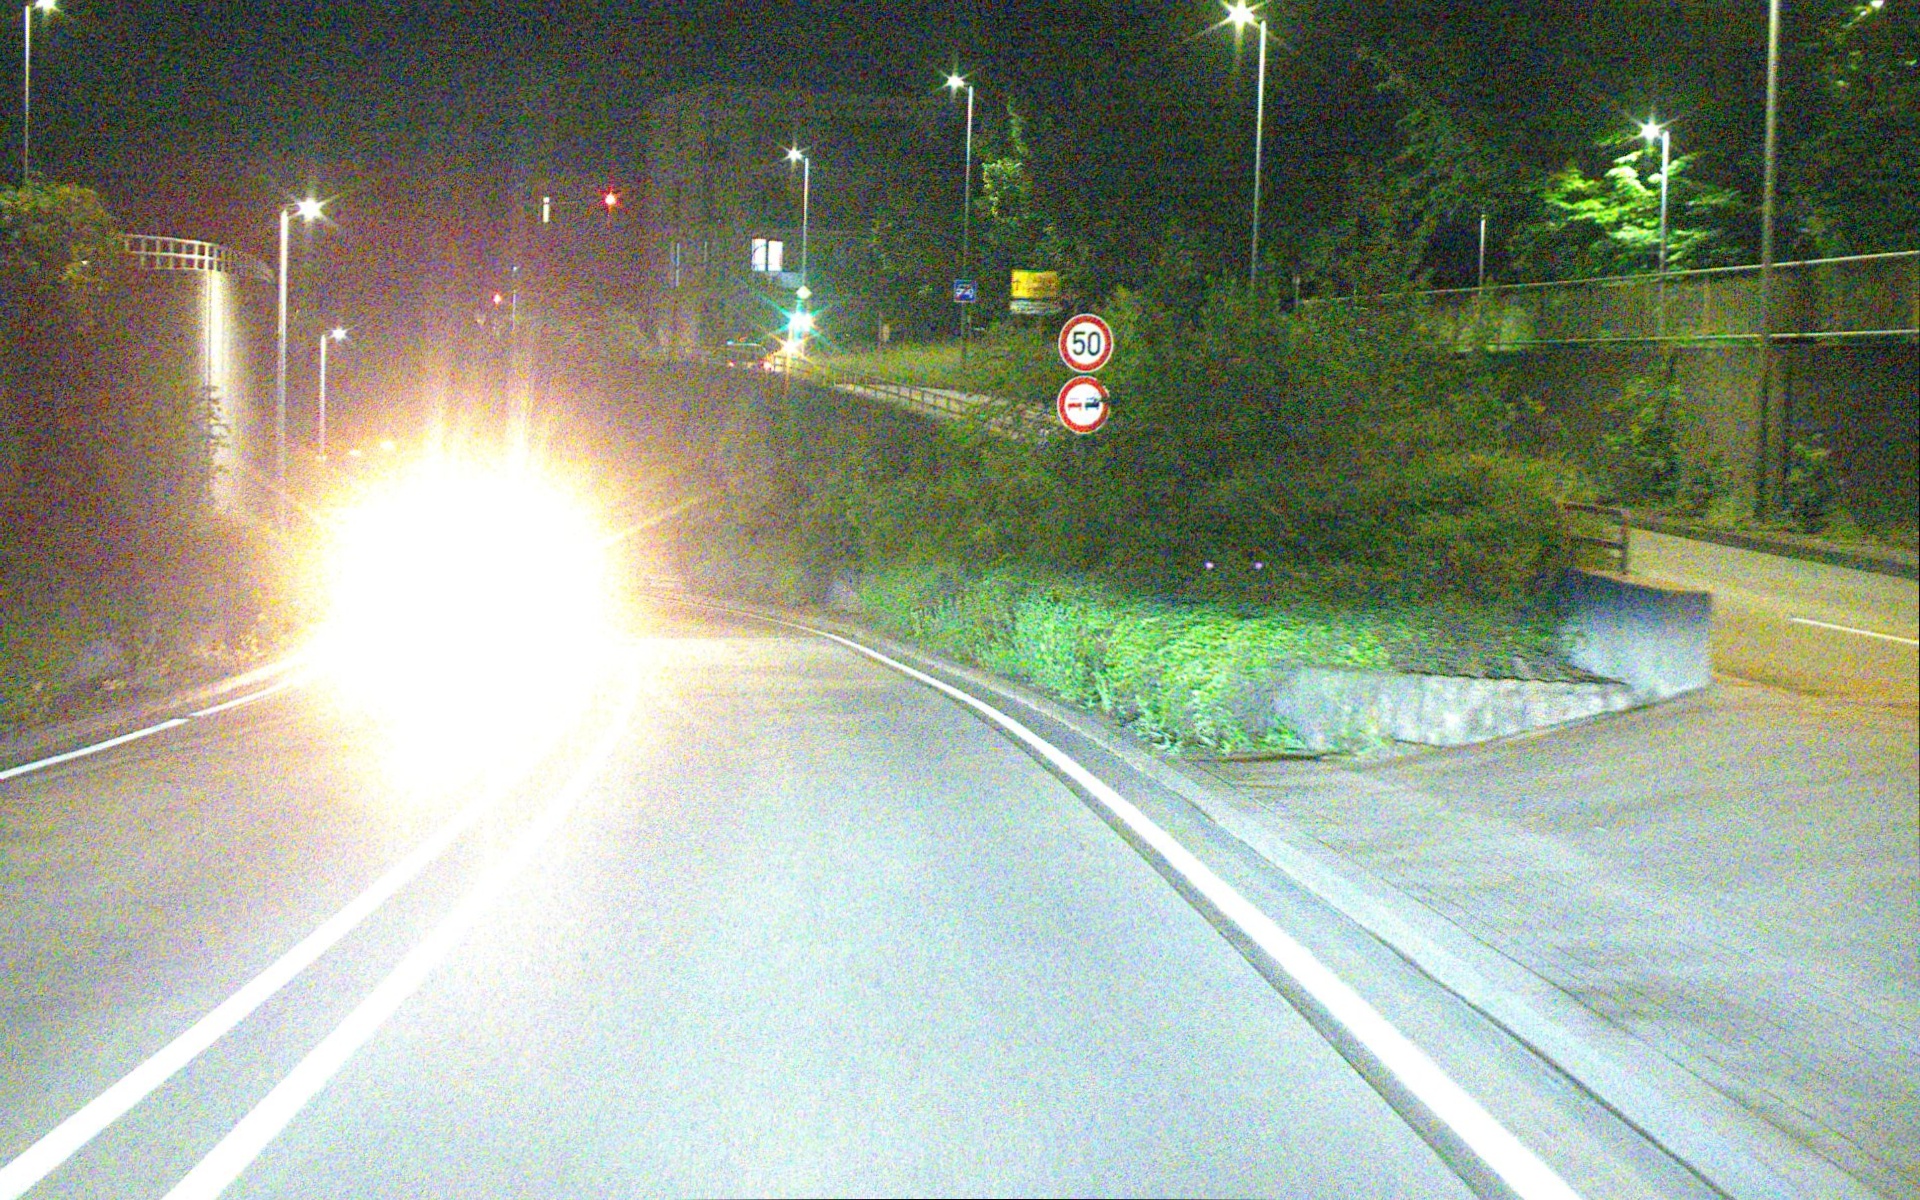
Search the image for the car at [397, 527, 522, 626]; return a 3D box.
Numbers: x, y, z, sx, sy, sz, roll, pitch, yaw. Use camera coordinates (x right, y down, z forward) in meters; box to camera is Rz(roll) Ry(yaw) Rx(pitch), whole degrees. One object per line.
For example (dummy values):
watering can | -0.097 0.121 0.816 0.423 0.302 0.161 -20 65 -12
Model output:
car | -7.937 -0.390 54.768 1.858 1.505 4.001 0 1 -7
